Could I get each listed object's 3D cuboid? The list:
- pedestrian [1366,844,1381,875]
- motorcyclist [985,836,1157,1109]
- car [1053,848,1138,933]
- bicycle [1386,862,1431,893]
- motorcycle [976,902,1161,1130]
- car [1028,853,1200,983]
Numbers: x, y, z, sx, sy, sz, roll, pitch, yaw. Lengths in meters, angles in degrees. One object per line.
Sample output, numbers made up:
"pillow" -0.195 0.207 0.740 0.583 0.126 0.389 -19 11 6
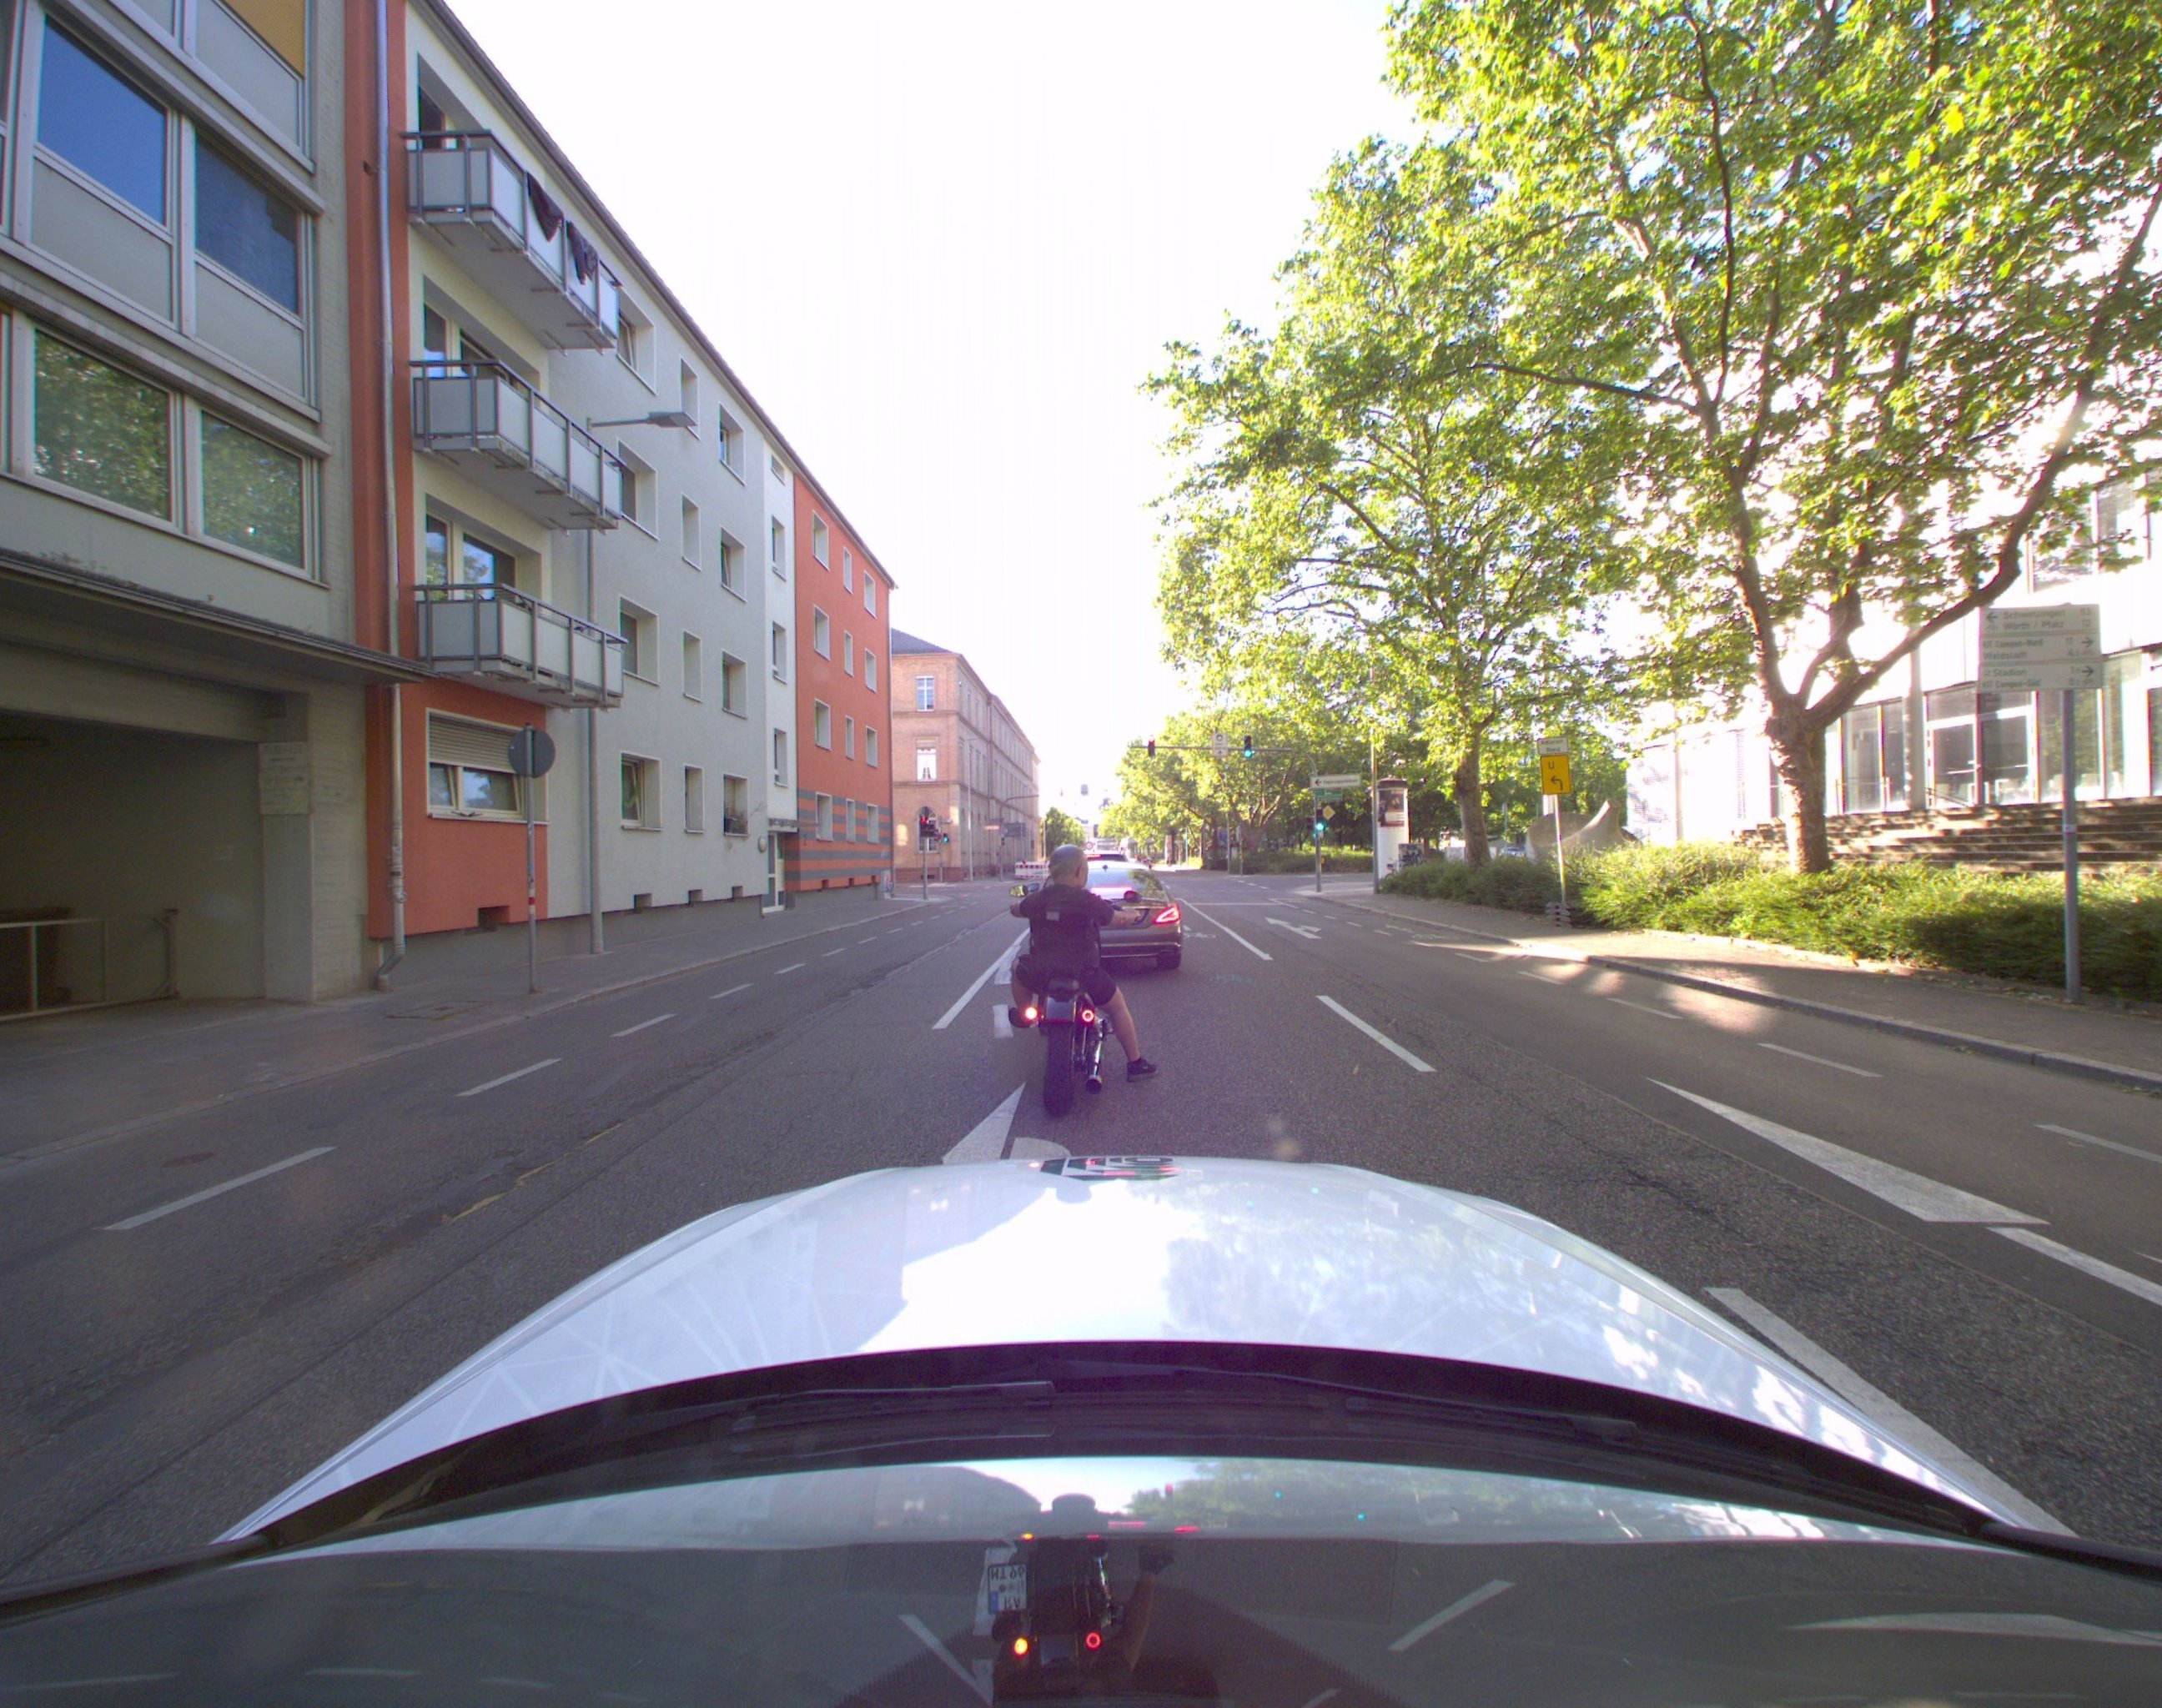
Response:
"pedestrian" 15.846 0.292 44.138 0.625 1.666 0.686 -1 0 12
"motorcyclist" -0.037 0.702 5.520 0.986 1.597 1.404 -1 0 2
"car" 0.321 0.709 17.881 1.606 1.607 4.329 -1 0 1
"bicycle" 11.024 0.793 27.393 1.346 1.023 0.363 -1 0 2
"motorcycle" -0.028 0.961 5.673 0.986 1.078 2.453 -1 0 2
"car" 0.256 0.745 11.711 1.943 1.473 4.355 -1 0 -5
